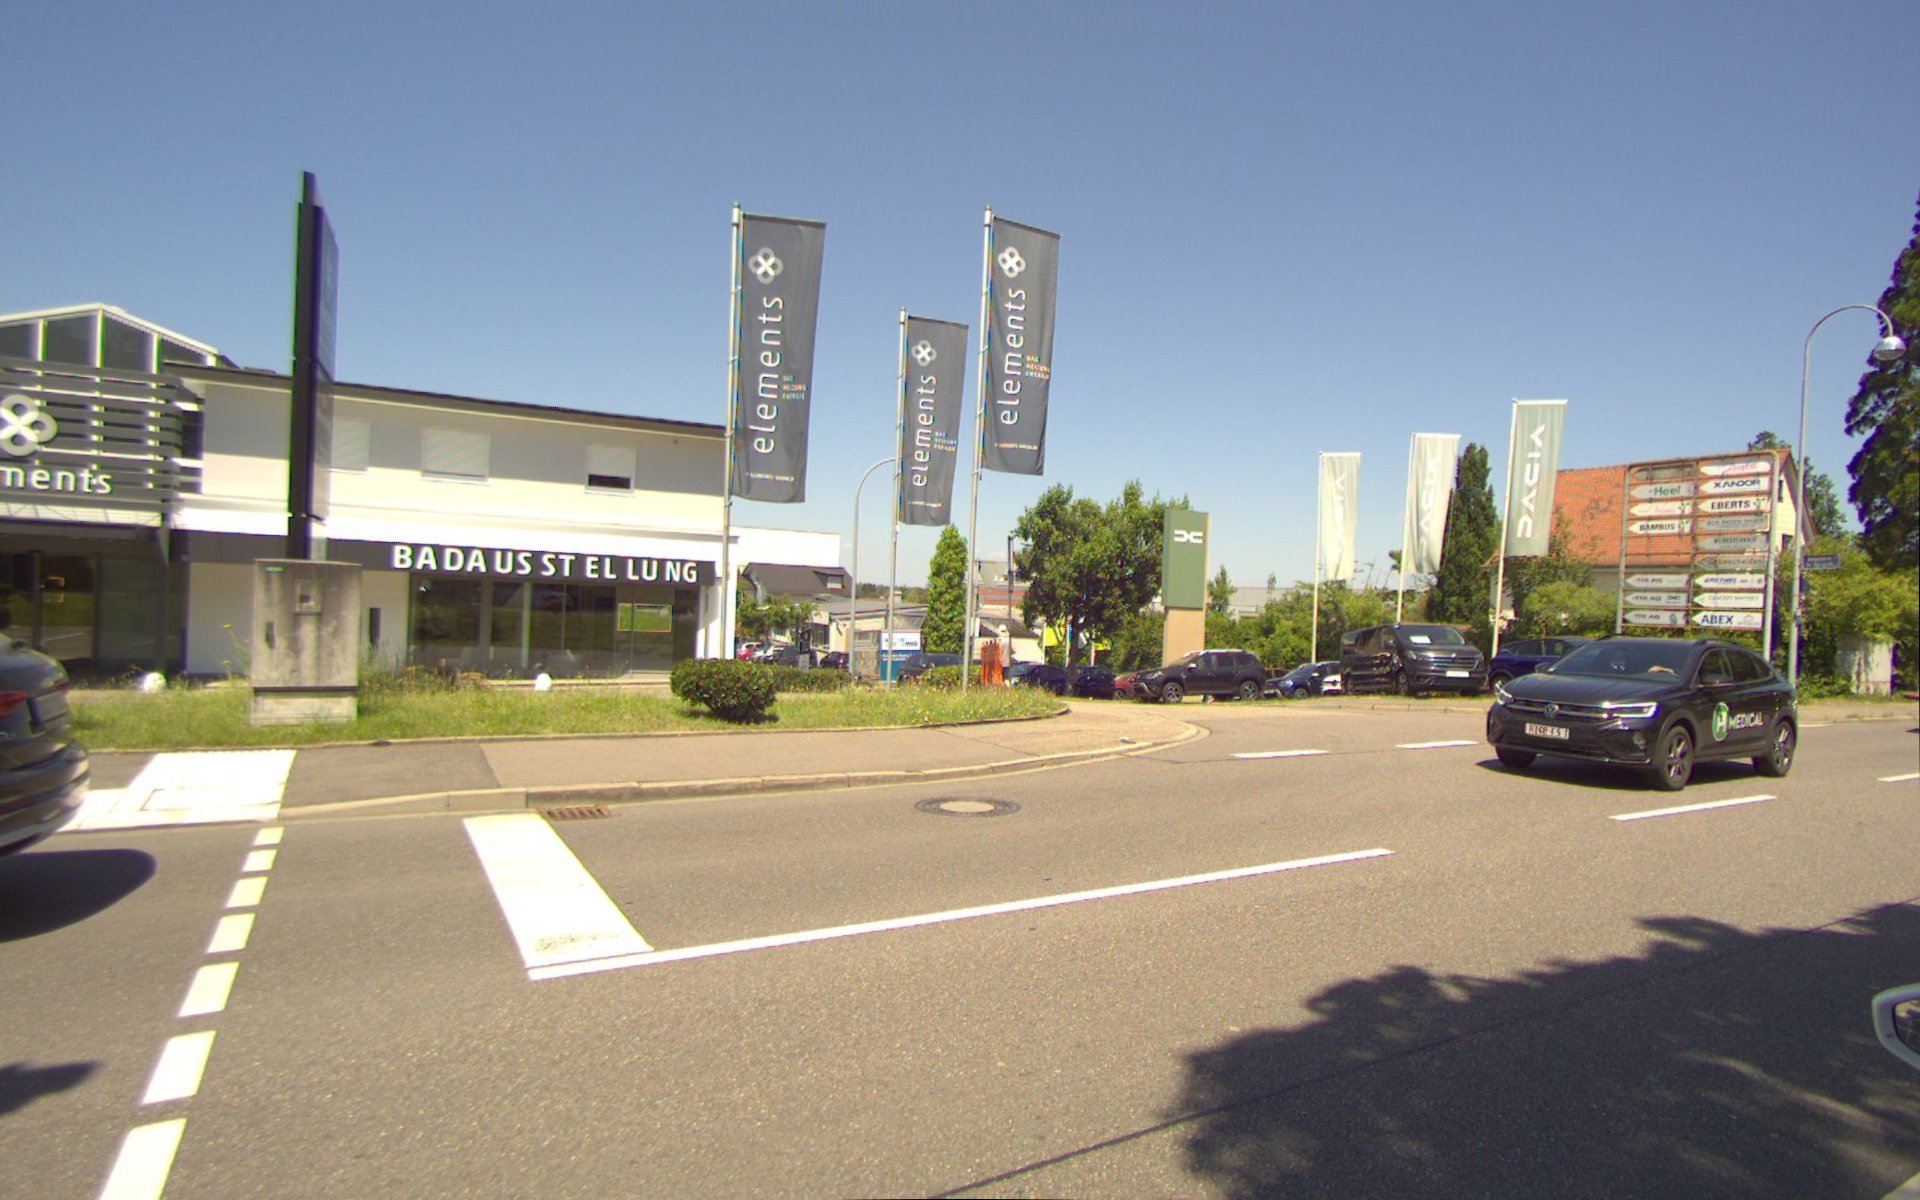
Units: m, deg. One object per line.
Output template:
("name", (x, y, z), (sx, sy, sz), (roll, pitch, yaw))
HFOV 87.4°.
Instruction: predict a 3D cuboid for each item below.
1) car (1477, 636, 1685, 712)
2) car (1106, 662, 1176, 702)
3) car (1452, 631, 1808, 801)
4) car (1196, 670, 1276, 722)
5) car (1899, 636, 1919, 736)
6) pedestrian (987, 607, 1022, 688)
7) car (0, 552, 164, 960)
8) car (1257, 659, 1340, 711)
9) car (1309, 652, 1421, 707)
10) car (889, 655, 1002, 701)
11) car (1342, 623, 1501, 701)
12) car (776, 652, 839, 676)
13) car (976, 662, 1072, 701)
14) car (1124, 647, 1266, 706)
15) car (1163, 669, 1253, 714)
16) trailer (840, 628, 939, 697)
("car", (15.033, 1.749, 24.596), (1.750, 1.524, 4.131), (2, 0, -19))
("car", (9.234, 4.119, 51.032), (1.786, 1.744, 4.073), (2, 0, 38))
("car", (7.563, 1.192, 11.255), (4.009, 1.526, 1.858), (3, -1, -33))
("car", (11.214, 3.835, 40.691), (1.785, 1.744, 4.076), (2, 0, 36))
("car", (19.498, 1.624, 18.598), (4.515, 1.785, 1.803), (2, -1, -29))
("pedestrian", (1.007, 1.066, 22.757), (0.689, 1.785, 0.545), (2, -1, -2))
("car", (-5.810, 0.521, 3.685), (4.255, 1.576, 1.916), (3, -1, -32))
("car", (13.225, 3.246, 39.153), (1.786, 1.744, 4.073), (2, 0, 38))
("car", (14.244, 2.750, 35.237), (4.052, 1.744, 1.795), (3, 0, -37))
("car", (-0.581, 2.585, 33.808), (1.892, 1.405, 4.940), (3, -4, -26))
("car", (11.765, 1.511, 25.981), (2.022, 1.750, 4.458), (-2, -1, 0))
("car", (-10.609, 4.471, 69.906), (3.946, 1.505, 1.747), (3, -1, -25))
("car", (2.643, 3.273, 40.917), (3.838, 1.434, 1.633), (3, -1, -41))
("car", (7.464, 2.458, 32.010), (4.020, 1.743, 1.810), (3, -5, -14))
("car", (11.014, 3.988, 44.445), (4.056, 1.744, 1.793), (3, 0, -40))
("trailer", (-2.802, 2.370, 38.467), (1.915, 2.436, 5.334), (2, -4, -26))
